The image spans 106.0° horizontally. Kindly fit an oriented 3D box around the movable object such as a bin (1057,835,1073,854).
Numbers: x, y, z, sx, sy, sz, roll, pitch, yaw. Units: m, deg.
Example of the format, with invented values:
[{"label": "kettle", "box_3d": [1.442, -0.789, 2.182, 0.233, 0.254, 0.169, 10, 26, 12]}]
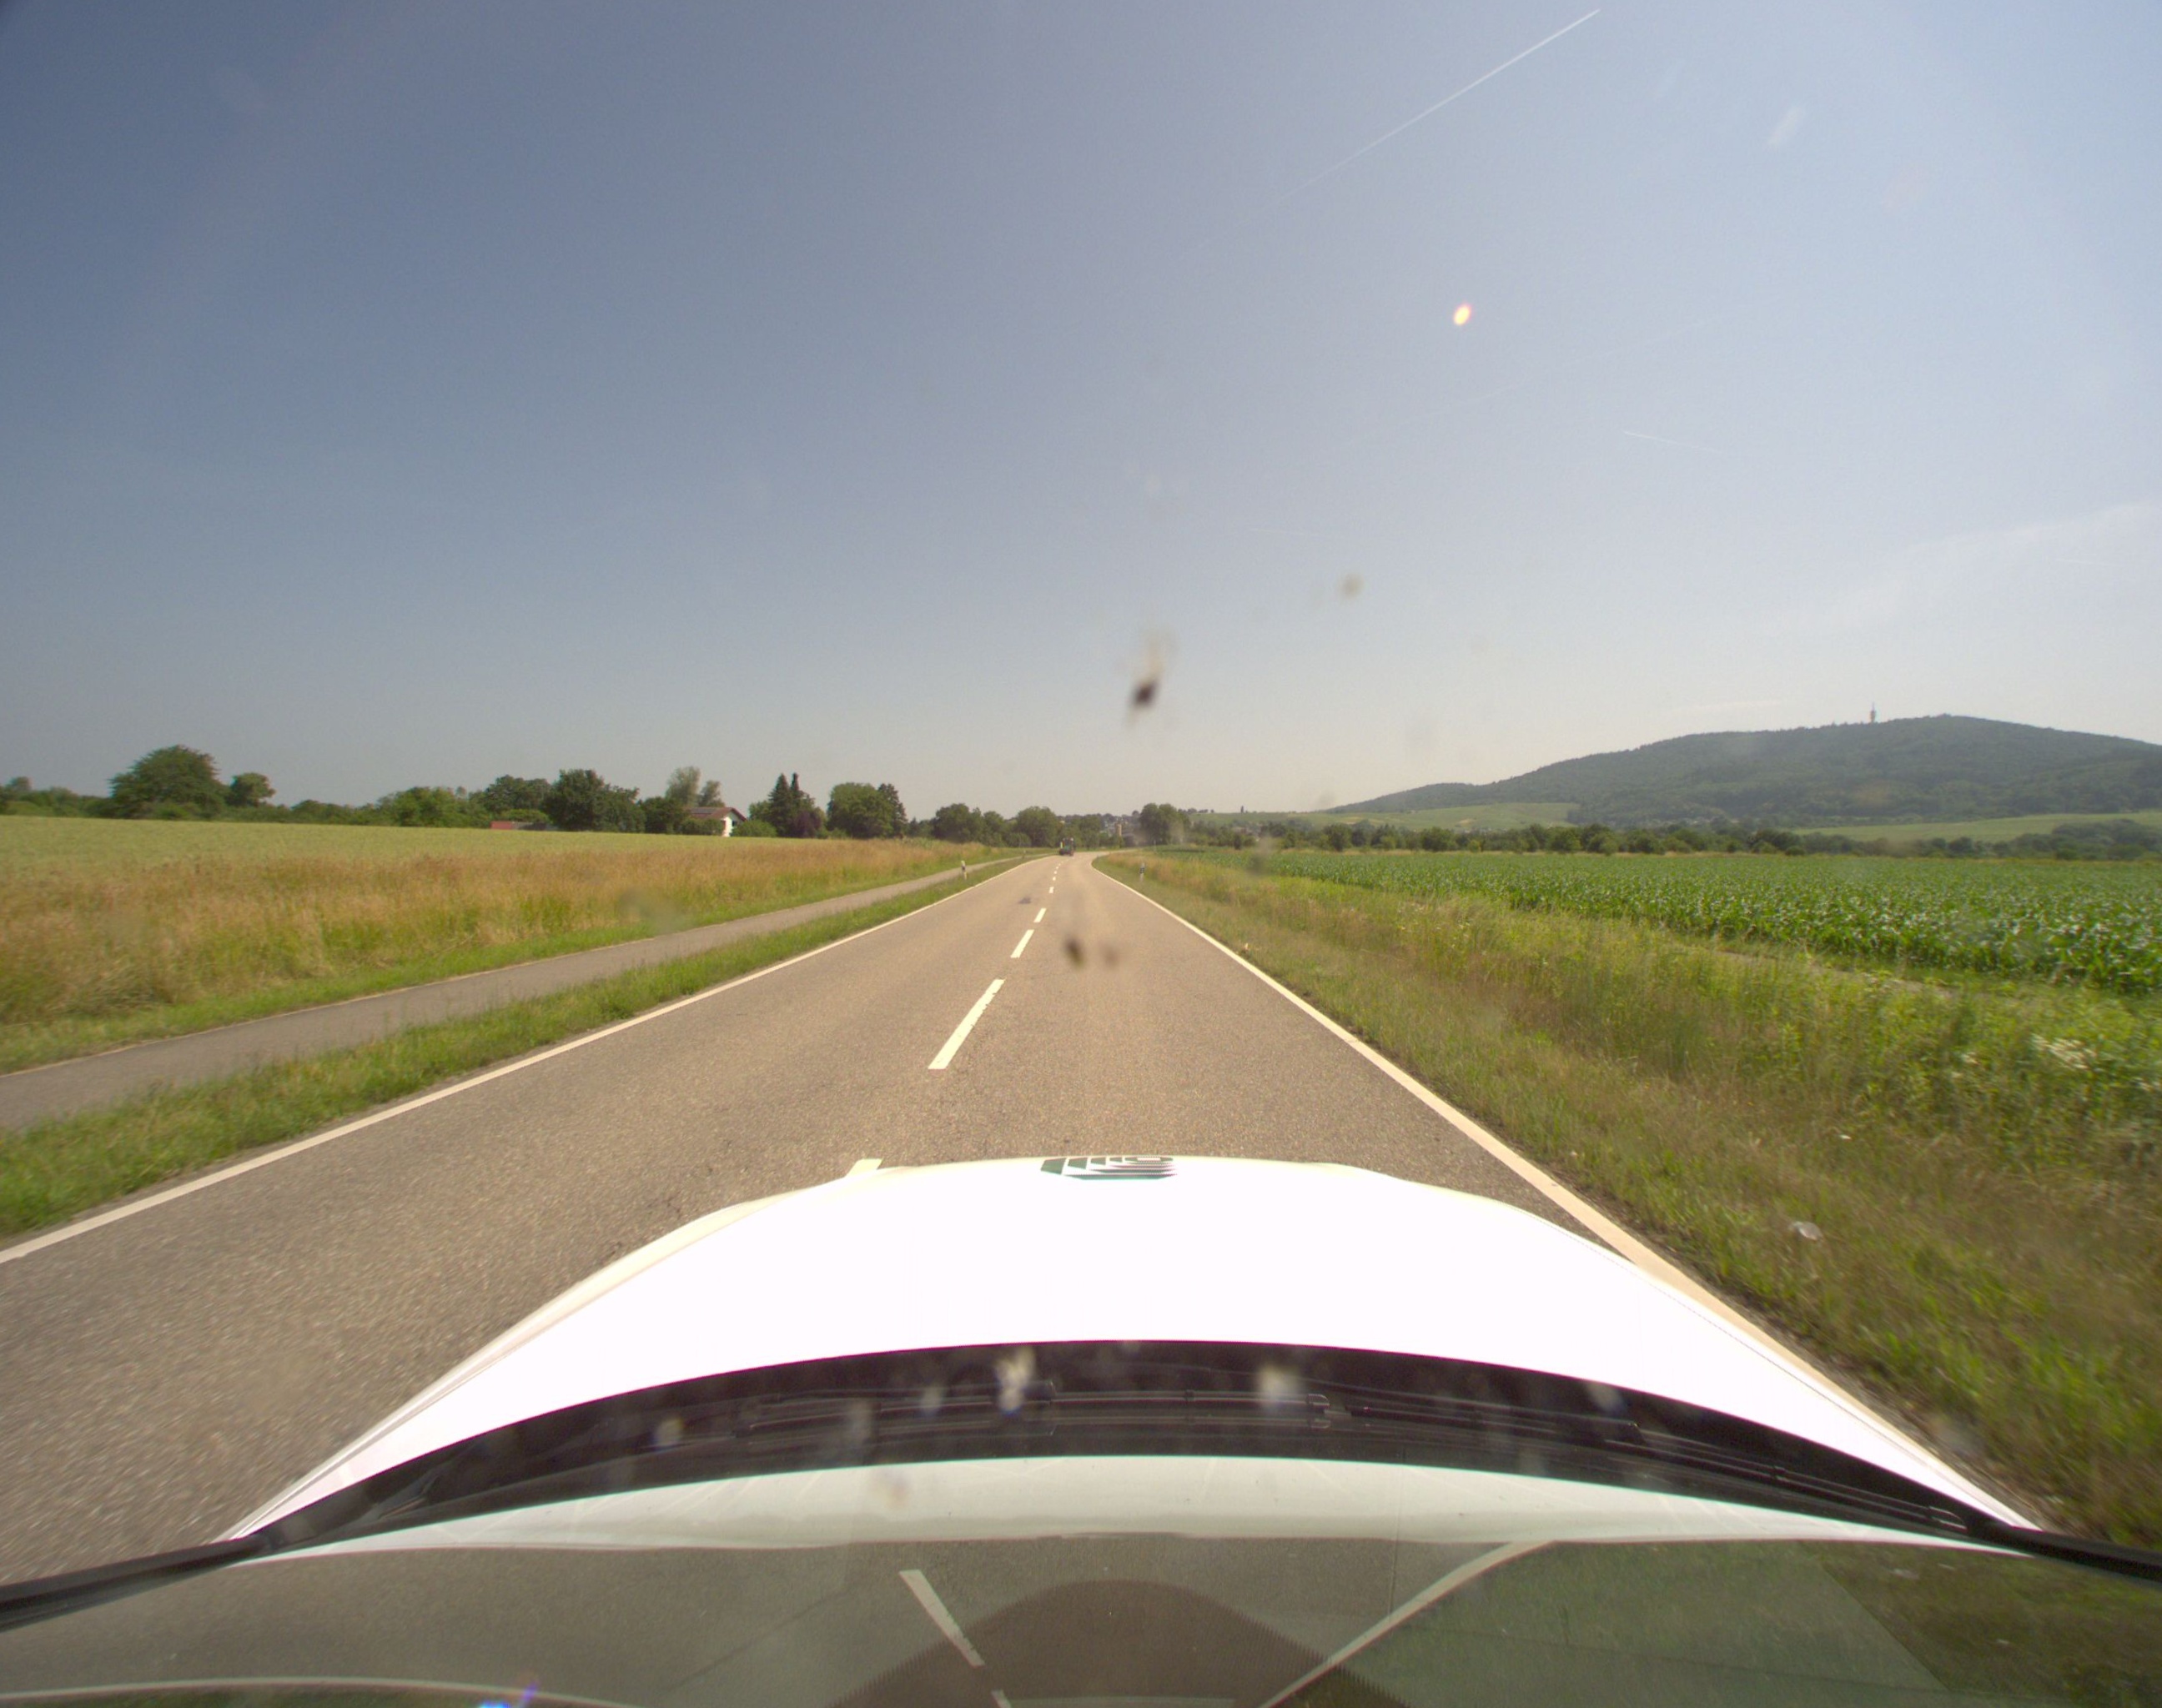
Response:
[{"label": "movable object such as a bin", "box_3d": [-2.445, -1.445, 126.842, 1.993, 2.754, 5.234, 3, 1, 2]}]
